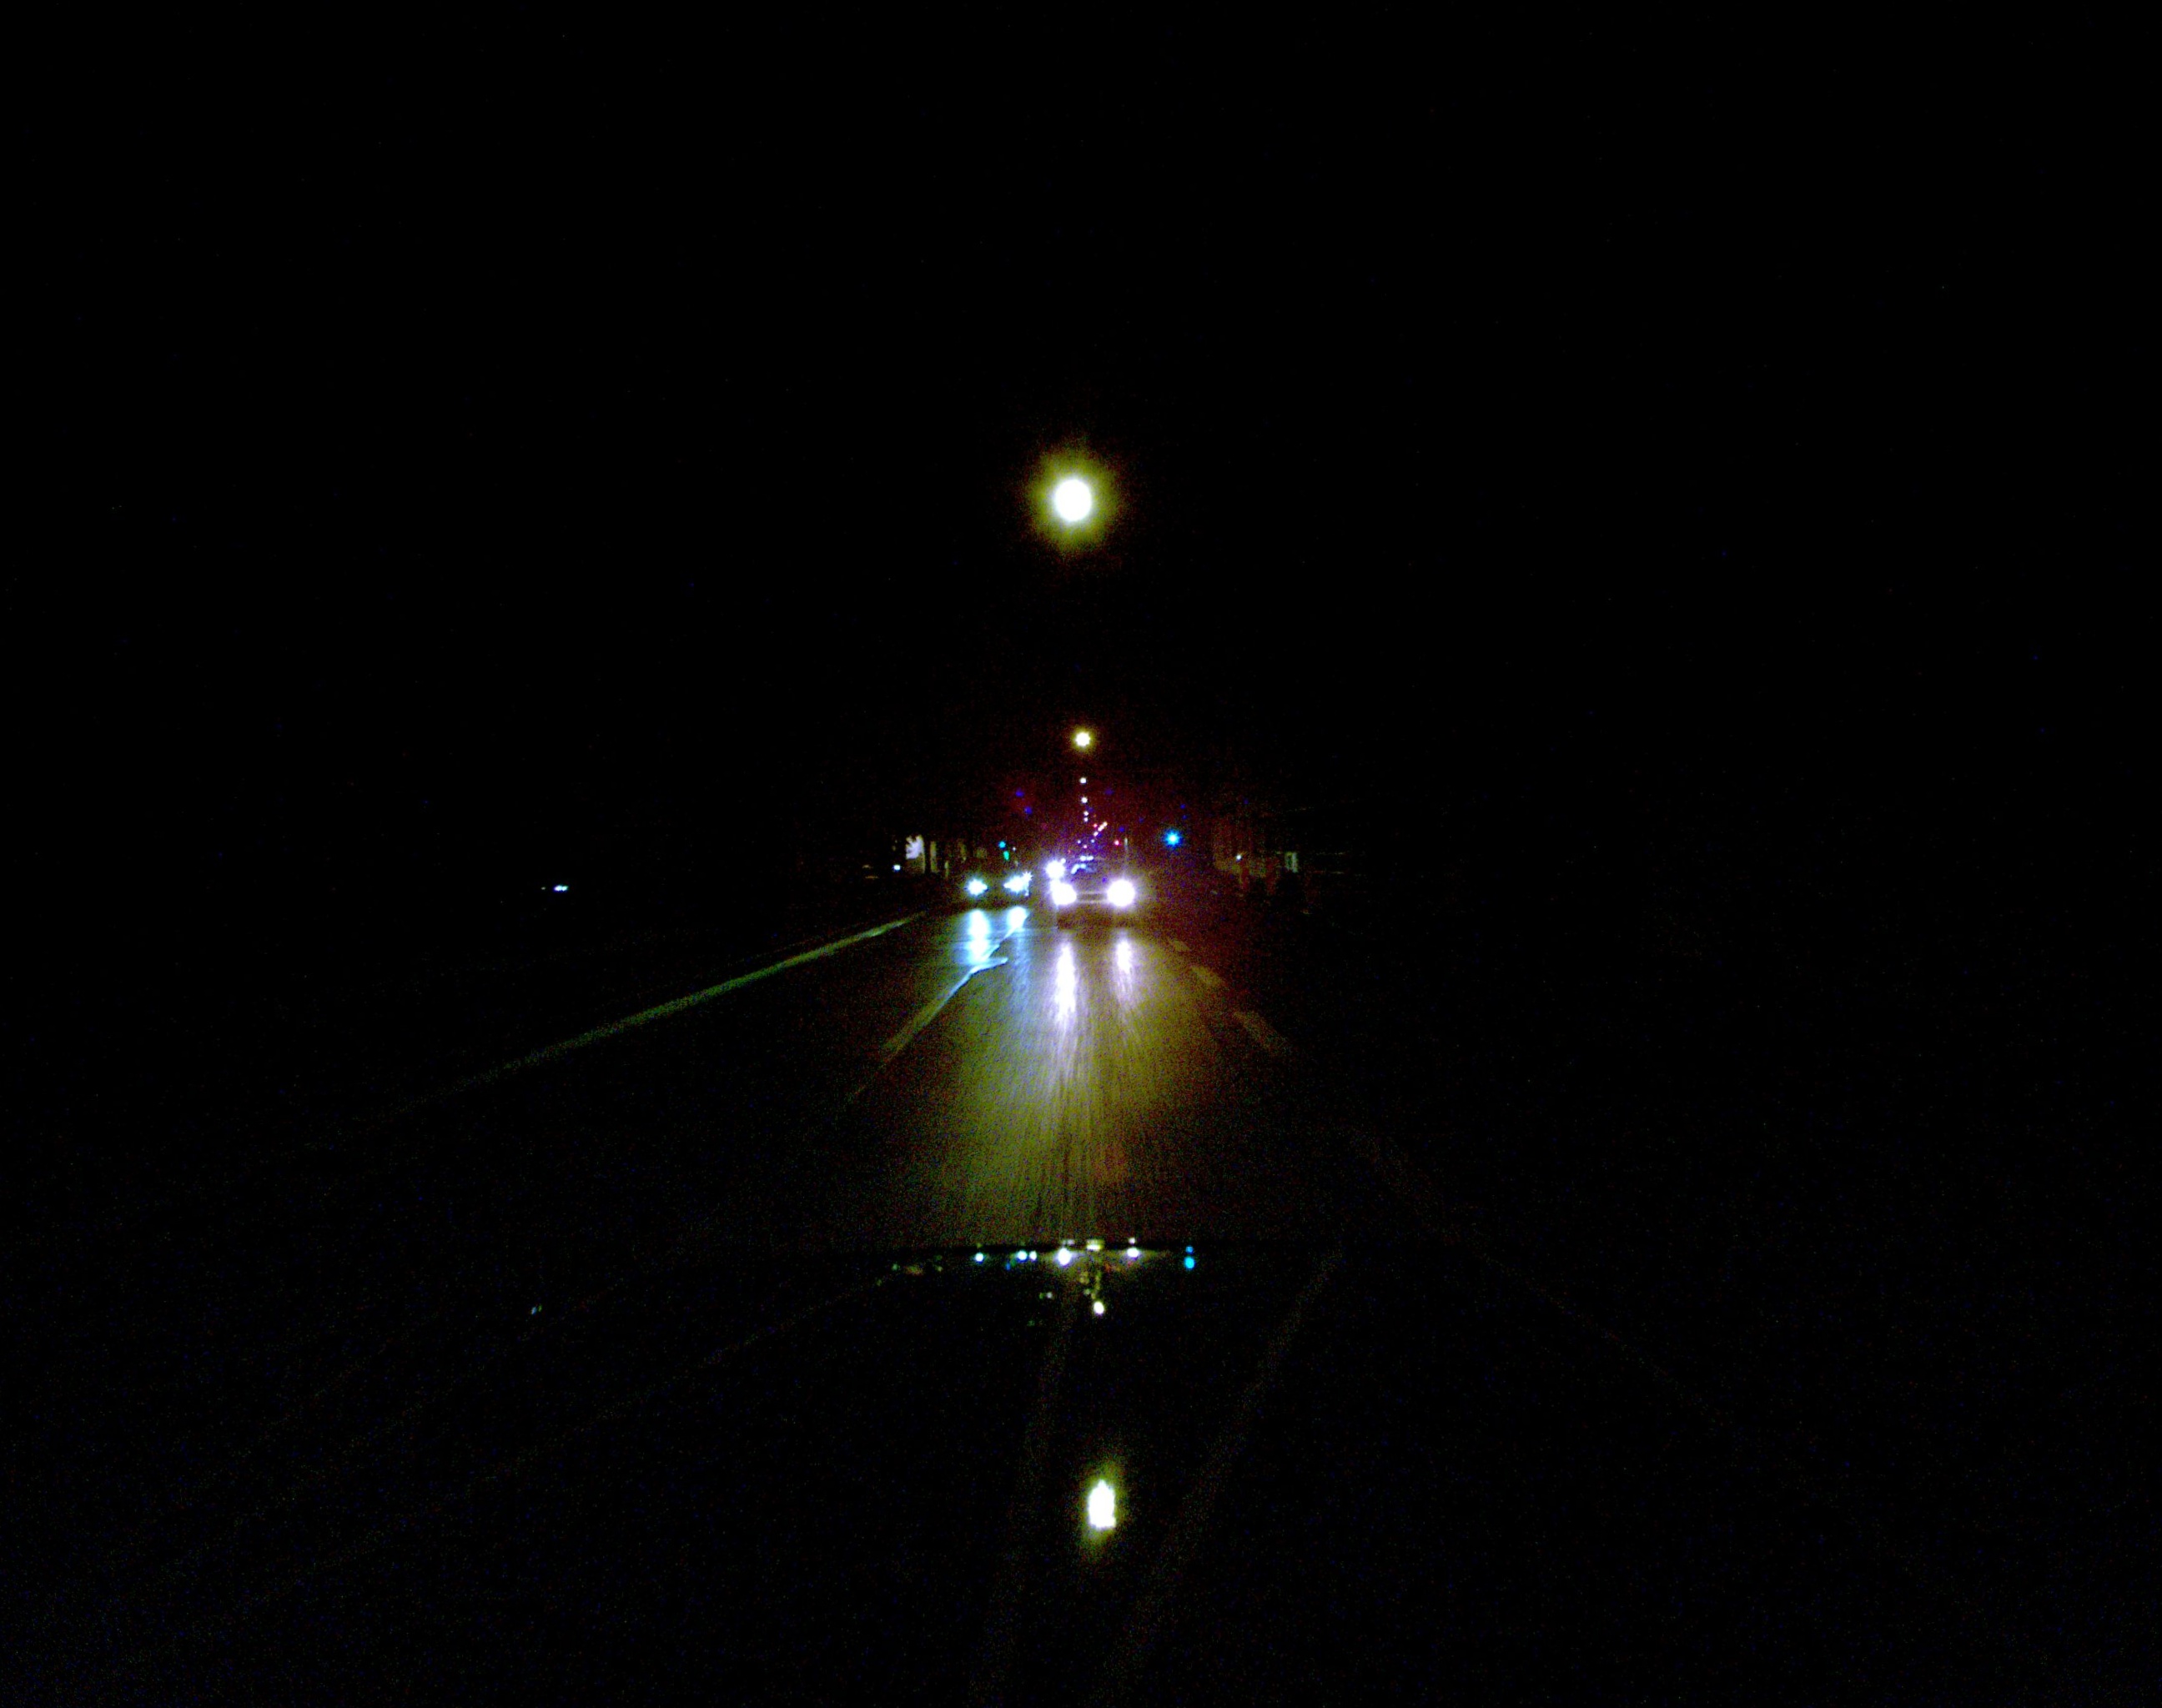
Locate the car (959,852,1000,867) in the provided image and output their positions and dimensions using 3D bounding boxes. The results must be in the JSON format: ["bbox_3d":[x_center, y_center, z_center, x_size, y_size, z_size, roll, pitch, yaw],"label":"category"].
[{"bbox_3d":[-10.856,0.558,81.351,4.092,1.446,1.786,-1,1,0],"label":"car"}]

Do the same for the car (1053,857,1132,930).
[{"bbox_3d":[0.324,0.856,18.093,1.634,1.430,3.840,-2,1,2],"label":"car"}]

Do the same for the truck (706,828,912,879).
[{"bbox_3d":[-23.683,-0.083,66.770,16.820,3.962,3.131,-1,2,0],"label":"truck"}]

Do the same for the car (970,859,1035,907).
[{"bbox_3d":[-2.719,0.961,27.341,1.729,1.421,4.498,-3,1,1],"label":"car"}]

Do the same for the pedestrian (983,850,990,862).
[{"bbox_3d":[-13.348,0.305,107.376,0.737,1.707,0.985,-1,1,1],"label":"pedestrian"}]

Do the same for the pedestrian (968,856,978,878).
[{"bbox_3d":[-7.736,0.910,54.571,0.574,1.525,0.633,-1,1,1],"label":"pedestrian"}]

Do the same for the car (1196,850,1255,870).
[{"bbox_3d":[11.224,0.443,59.406,1.896,1.416,4.718,-1,1,-31],"label":"car"}]

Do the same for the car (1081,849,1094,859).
[{"bbox_3d":[1.175,0.008,136.204,1.998,1.626,4.001,-1,0,4],"label":"car"}]

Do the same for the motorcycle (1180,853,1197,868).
[{"bbox_3d":[8.845,0.547,62.412,0.574,1.173,2.029,-2,1,-16],"label":"motorcycle"}]

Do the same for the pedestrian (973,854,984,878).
[{"bbox_3d":[-7.144,0.831,53.141,0.622,1.629,0.679,-1,1,1],"label":"pedestrian"}]

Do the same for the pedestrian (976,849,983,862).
[{"bbox_3d":[-14.347,0.248,107.608,0.721,1.778,0.970,-1,1,1],"label":"pedestrian"}]

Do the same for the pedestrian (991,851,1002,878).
[{"bbox_3d":[-5.846,0.720,52.698,0.623,1.801,0.759,-1,1,1],"label":"pedestrian"}]

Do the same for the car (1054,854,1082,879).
[{"bbox_3d":[-0.827,0.765,49.892,1.729,1.455,3.999,-1,1,0],"label":"car"}]
